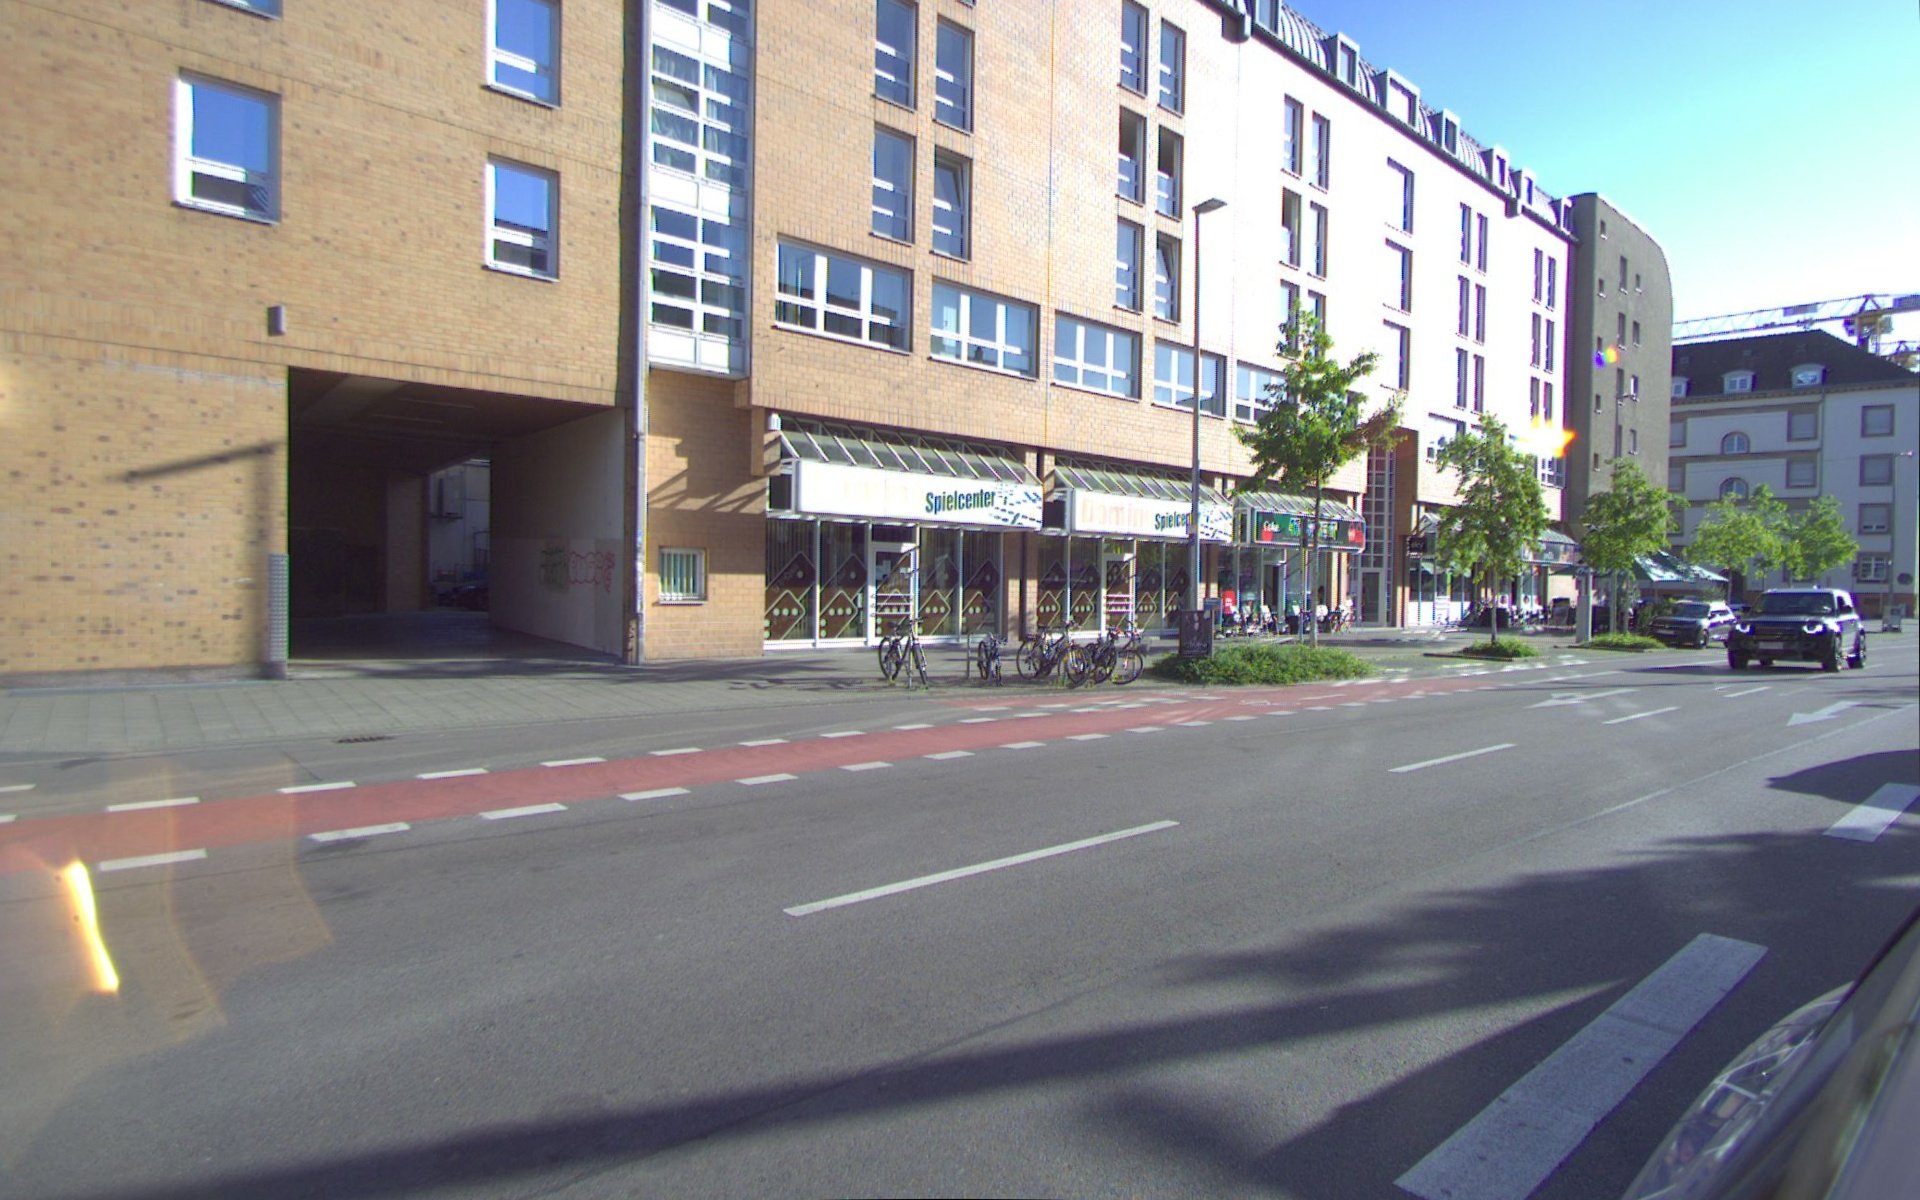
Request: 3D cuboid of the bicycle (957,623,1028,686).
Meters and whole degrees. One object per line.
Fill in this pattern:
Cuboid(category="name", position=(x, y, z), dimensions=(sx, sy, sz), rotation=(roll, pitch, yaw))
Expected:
Cuboid(category="bicycle", position=(0.513, 0.876, 16.757), dimensions=(0.359, 0.842, 1.779), rotation=(0, 3, -26))

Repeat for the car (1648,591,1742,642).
Cuboid(category="car", position=(25.717, 0.534, 35.393), dimensions=(3.929, 1.660, 1.778), rotation=(0, 1, -41))

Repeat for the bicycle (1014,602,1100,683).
Cuboid(category="bicycle", position=(1.612, 0.680, 17.191), dimensions=(0.553, 1.177, 1.843), rotation=(0, 3, -26))

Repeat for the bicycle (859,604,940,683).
Cuboid(category="bicycle", position=(-1.000, 0.675, 16.307), dimensions=(0.423, 1.089, 1.776), rotation=(-1, 4, -35))

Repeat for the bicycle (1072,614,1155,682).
Cuboid(category="bicycle", position=(2.657, 0.808, 17.663), dimensions=(0.440, 0.997, 1.843), rotation=(0, 3, -26))

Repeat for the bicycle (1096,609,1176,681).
Cuboid(category="bicycle", position=(3.080, 0.768, 17.872), dimensions=(0.343, 1.069, 1.843), rotation=(0, 3, -26))

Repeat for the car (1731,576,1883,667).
Cuboid(category="car", position=(20.190, 0.490, 24.062), dimensions=(4.395, 1.939, 2.162), rotation=(1, -1, -42))
